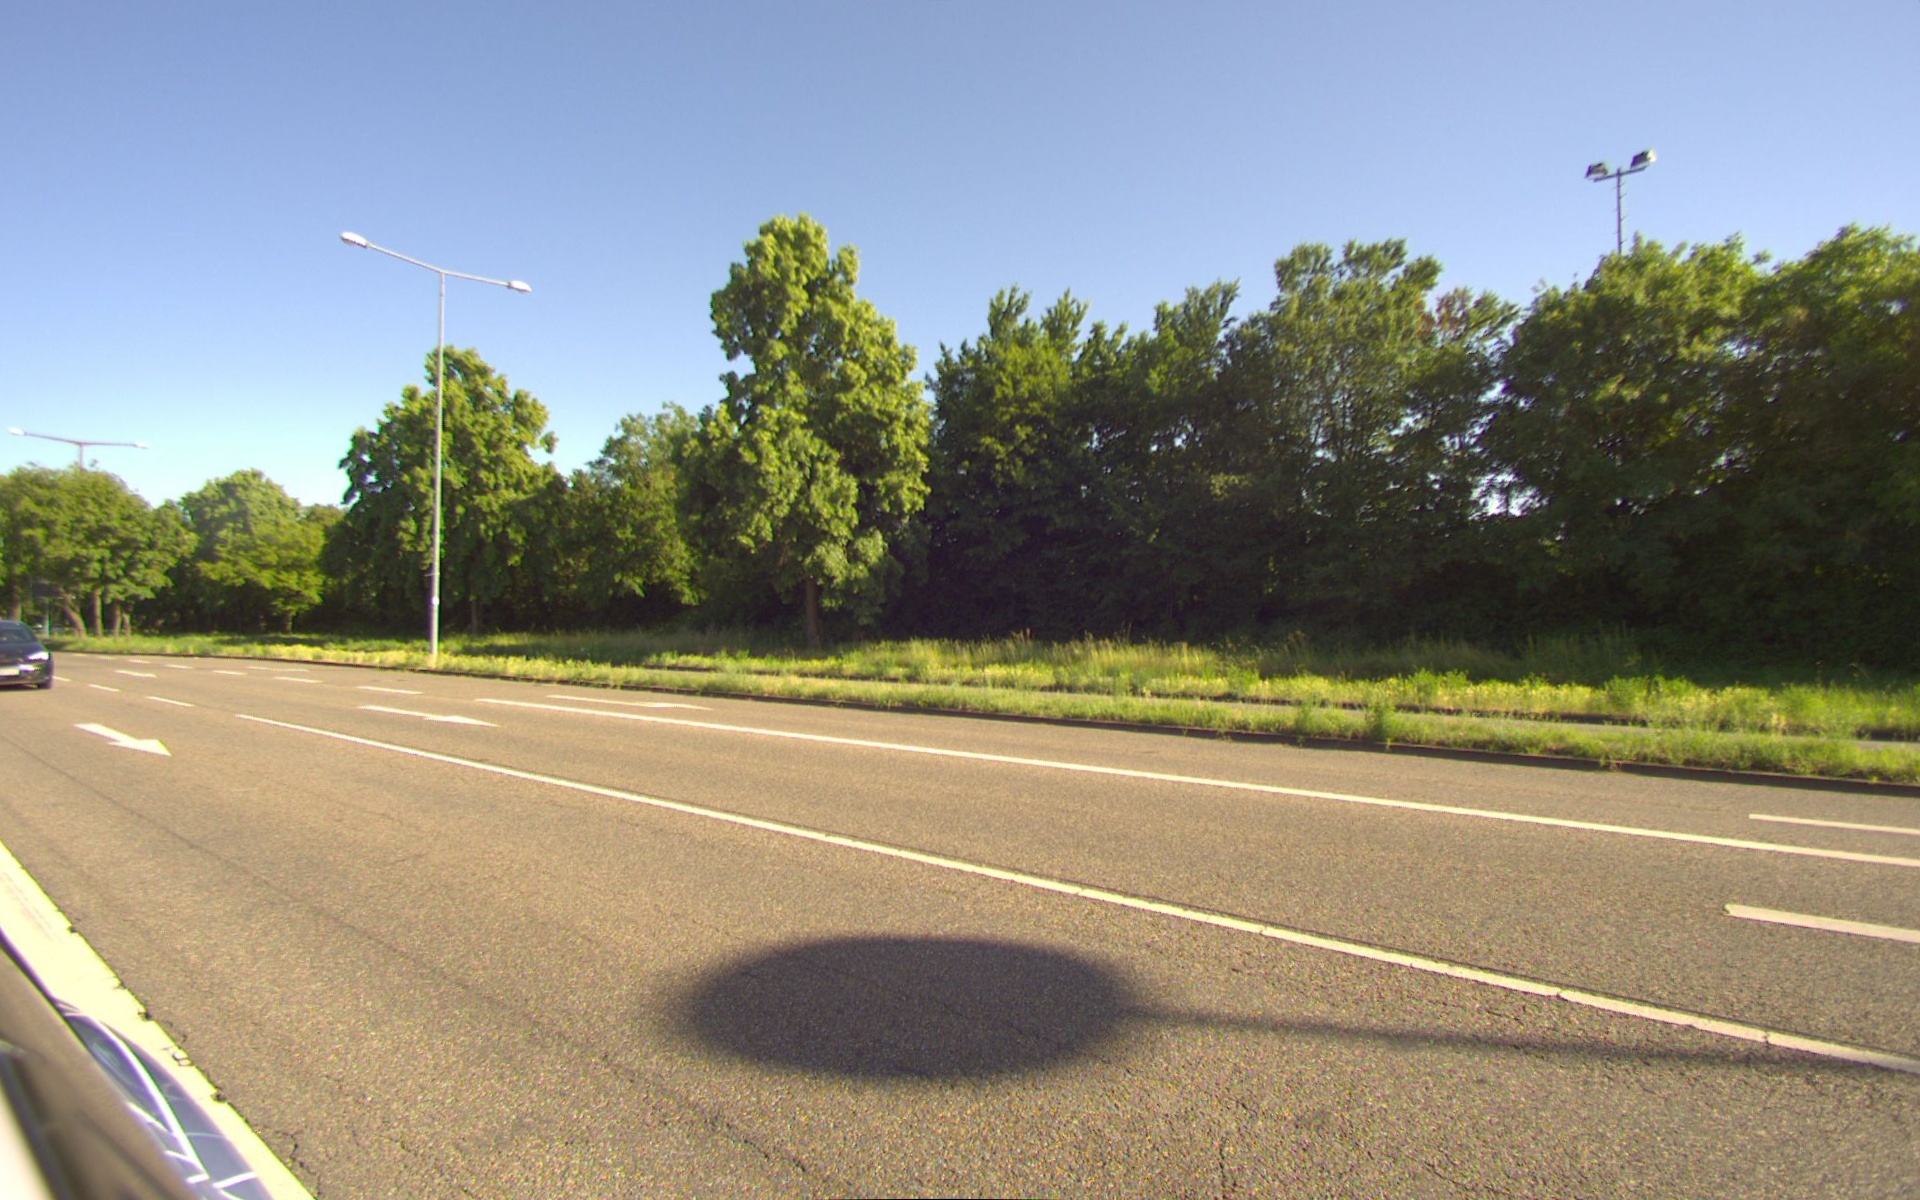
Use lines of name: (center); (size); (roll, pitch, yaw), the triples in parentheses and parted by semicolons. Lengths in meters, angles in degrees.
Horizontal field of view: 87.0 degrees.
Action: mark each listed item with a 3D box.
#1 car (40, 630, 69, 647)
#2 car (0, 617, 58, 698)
car: (-101.161, 4.321, 113.047); (4.406, 1.716, 1.892); (0, 0, 42)
car: (-21.137, 1.201, 22.017); (4.295, 1.628, 1.743); (-1, -1, 41)
